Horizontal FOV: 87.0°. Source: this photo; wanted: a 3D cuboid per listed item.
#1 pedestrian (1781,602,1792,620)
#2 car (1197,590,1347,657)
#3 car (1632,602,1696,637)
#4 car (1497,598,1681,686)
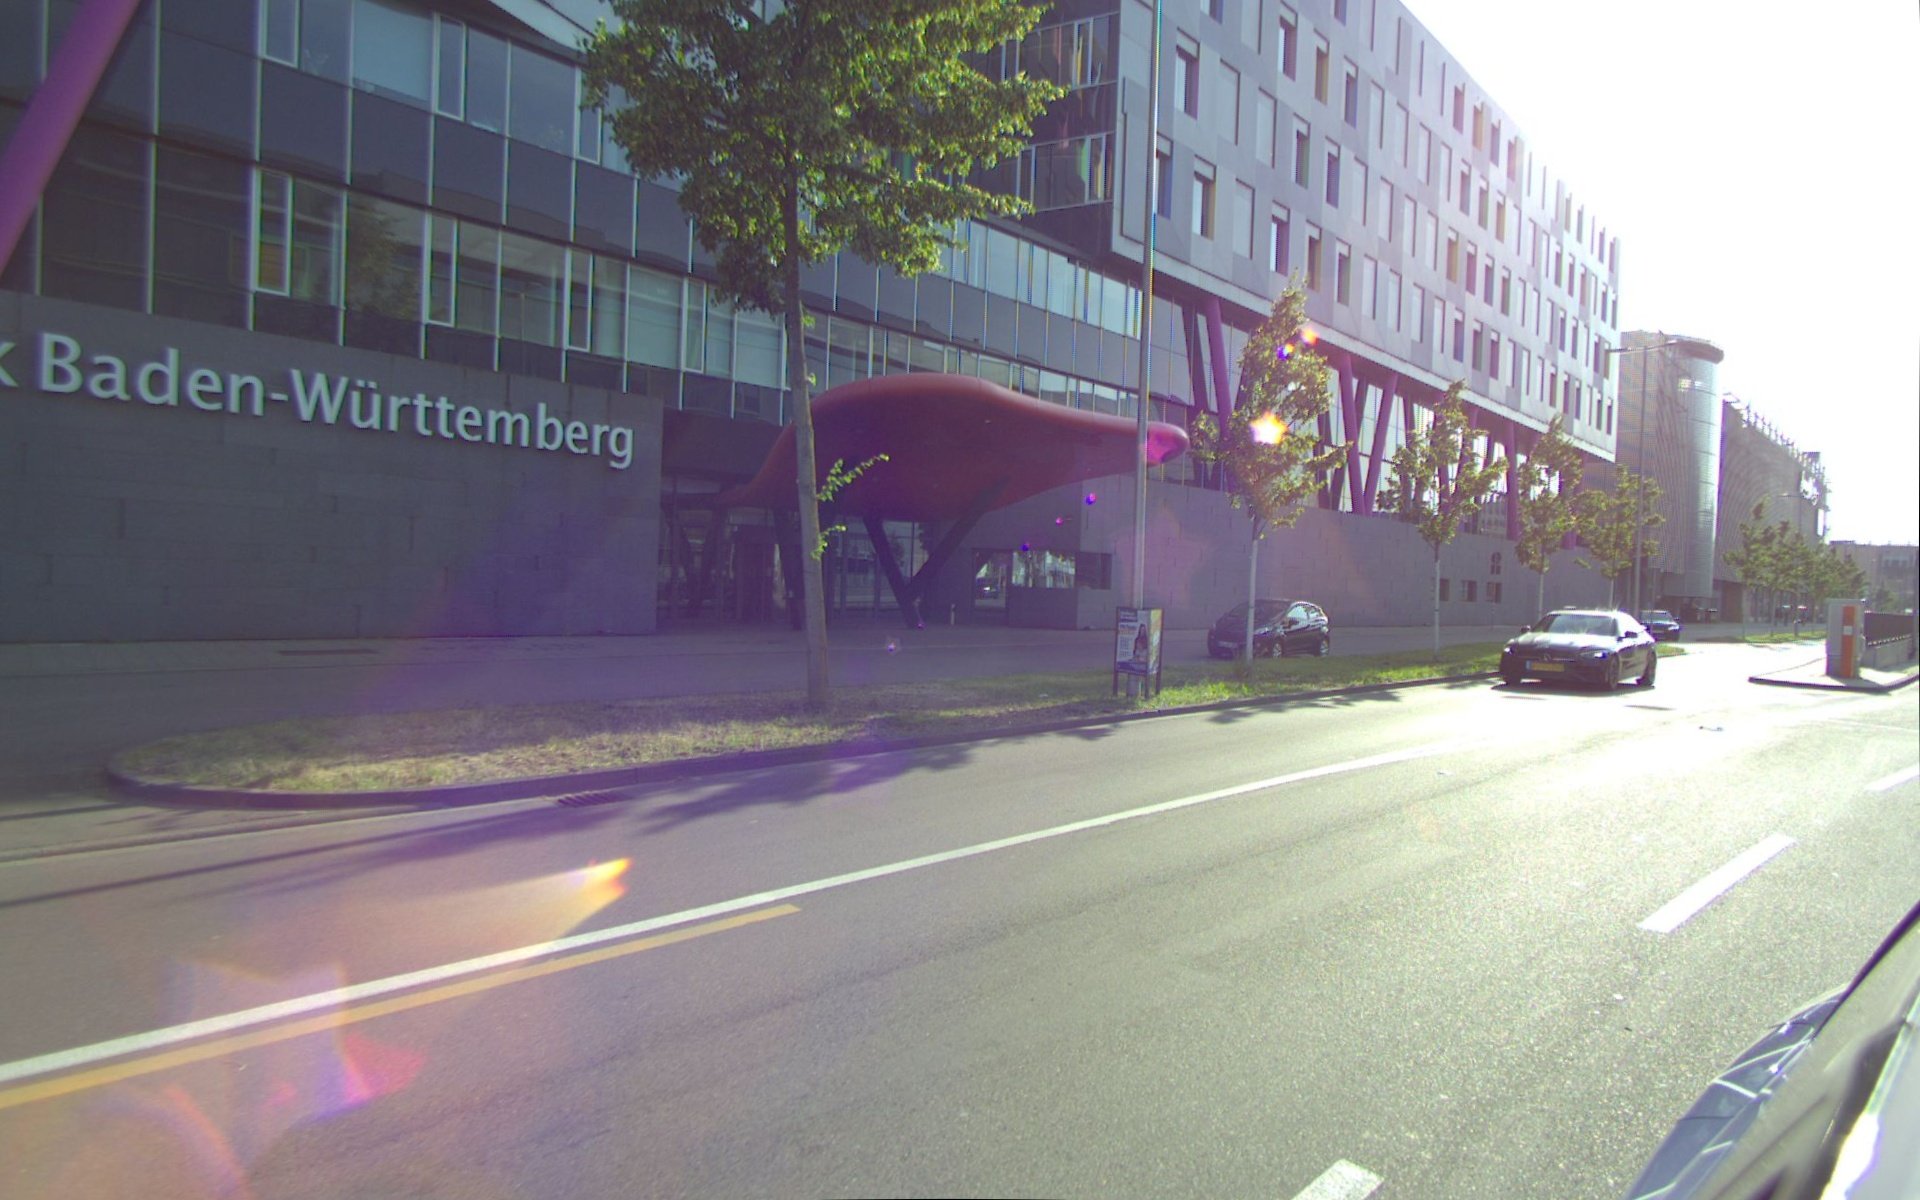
[{"bbox_3d":[83.107,1.137,101.744,0.759,1.809,0.724,1,1,-44],"label":"pedestrian"},{"bbox_3d":[7.535,0.543,24.240,1.693,1.407,4.130,3,1,45],"label":"car"},{"bbox_3d":[34.495,0.901,49.711,1.877,1.444,4.434,1,2,26],"label":"car"},{"bbox_3d":[12.217,0.758,19.542,4.477,1.468,1.842,1,0,-42],"label":"car"}]
